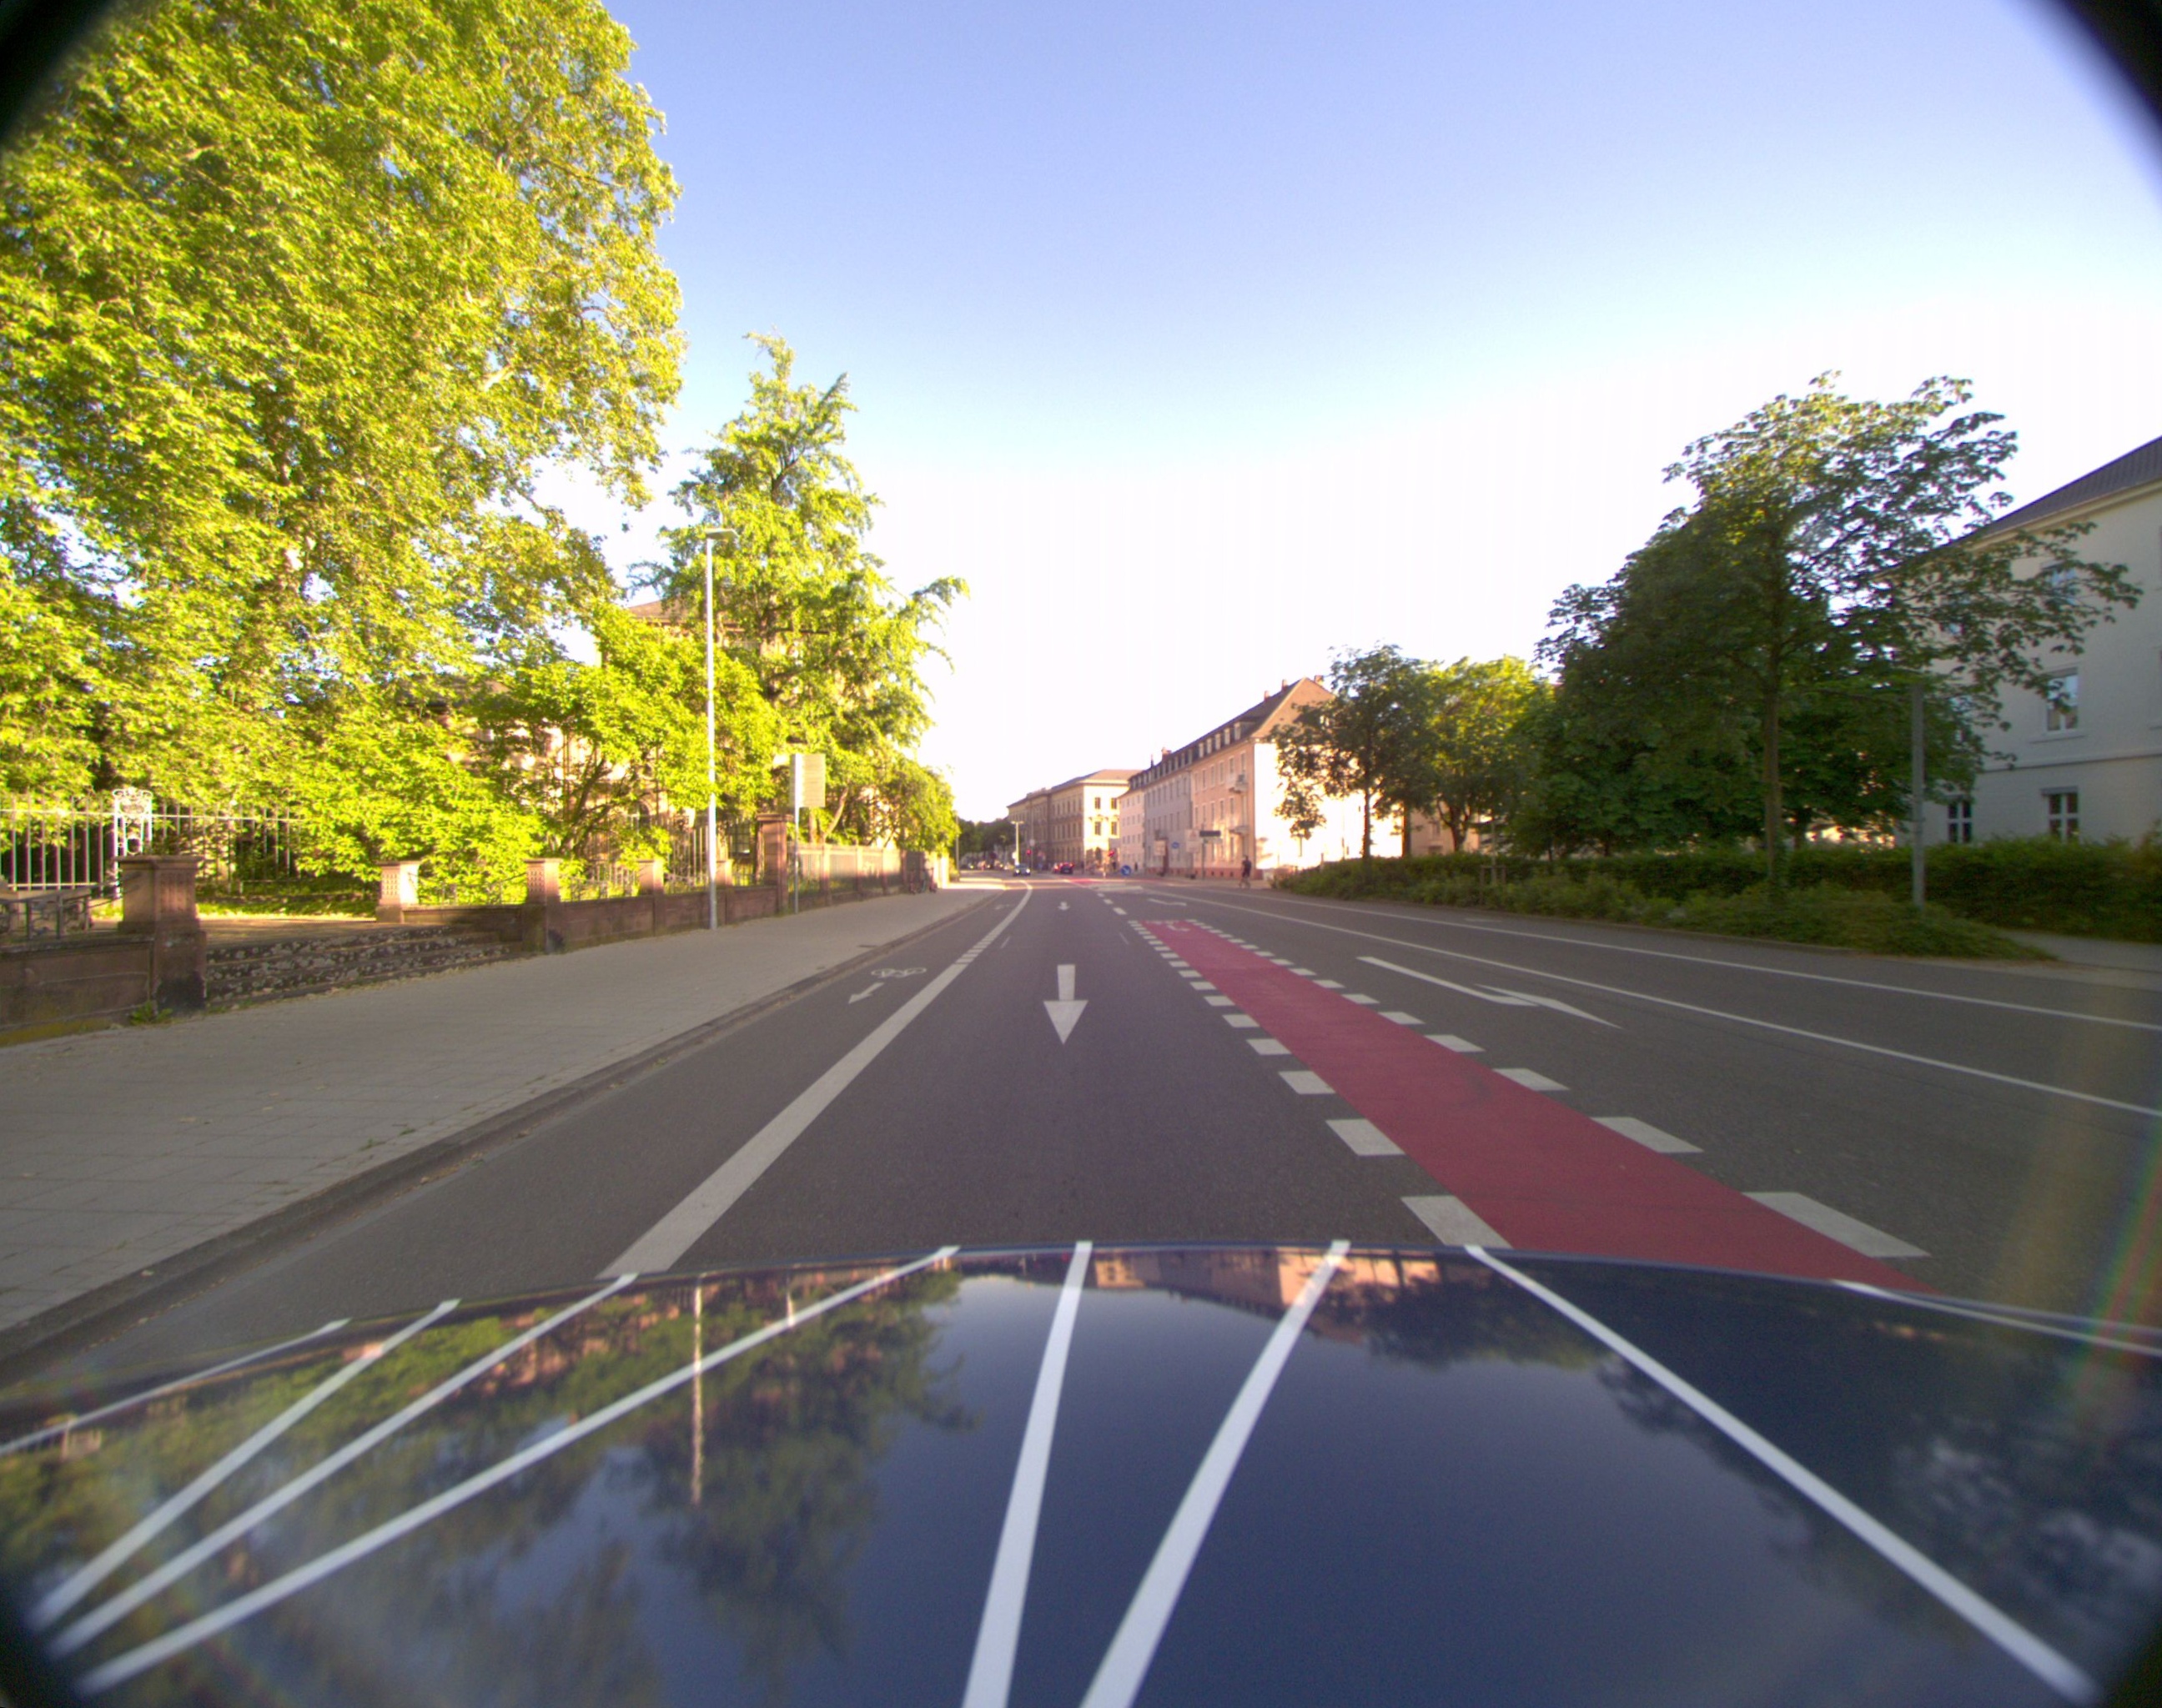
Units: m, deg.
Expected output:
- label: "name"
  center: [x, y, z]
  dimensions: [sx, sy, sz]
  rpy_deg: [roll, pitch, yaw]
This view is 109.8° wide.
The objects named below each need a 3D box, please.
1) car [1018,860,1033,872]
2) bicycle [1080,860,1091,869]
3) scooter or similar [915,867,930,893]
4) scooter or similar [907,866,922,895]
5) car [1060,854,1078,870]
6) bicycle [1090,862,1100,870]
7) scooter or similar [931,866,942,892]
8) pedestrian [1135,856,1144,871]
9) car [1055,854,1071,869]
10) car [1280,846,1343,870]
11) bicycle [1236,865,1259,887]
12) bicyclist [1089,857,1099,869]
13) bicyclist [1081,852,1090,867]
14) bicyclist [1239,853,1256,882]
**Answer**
- label: "car"
  center: [-6.525, 1.396, 89.311]
  dimensions: [1.710, 1.397, 4.262]
  rpy_deg: [0, 0, -5]
- label: "bicycle"
  center: [0.575, 1.357, 102.008]
  dimensions: [0.956, 1.216, 2.777]
  rpy_deg: [0, 0, -9]
- label: "scooter or similar"
  center: [-7.527, 1.209, 36.095]
  dimensions: [0.576, 1.177, 1.487]
  rpy_deg: [0, 0, -7]
- label: "scooter or similar"
  center: [-7.515, 1.191, 34.243]
  dimensions: [0.576, 1.246, 1.486]
  rpy_deg: [0, 0, -15]
- label: "car"
  center: [-1.538, 0.990, 95.232]
  dimensions: [1.999, 2.002, 3.998]
  rpy_deg: [0, 0, -5]
- label: "bicycle"
  center: [1.617, 1.417, 89.981]
  dimensions: [0.663, 0.907, 2.861]
  rpy_deg: [0, 0, -9]
- label: "scooter or similar"
  center: [-7.053, 1.200, 37.176]
  dimensions: [0.517, 1.233, 1.521]
  rpy_deg: [0, 0, -11]
- label: "pedestrian"
  center: [7.815, 1.287, 101.882]
  dimensions: [0.949, 1.894, 1.062]
  rpy_deg: [-2, 1, -7]
- label: "car"
  center: [-2.421, 1.025, 101.153]
  dimensions: [1.999, 2.002, 3.998]
  rpy_deg: [0, 0, -5]
- label: "car"
  center: [17.159, 0.285, 56.728]
  dimensions: [4.000, 1.652, 1.998]
  rpy_deg: [-2, 1, -9]
- label: "bicycle"
  center: [9.232, 1.223, 42.267]
  dimensions: [0.697, 1.152, 2.245]
  rpy_deg: [1, 0, -3]
- label: "bicyclist"
  center: [1.577, 1.038, 89.924]
  dimensions: [1.026, 1.481, 0.870]
  rpy_deg: [0, 0, -9]
- label: "bicyclist"
  center: [0.575, 0.680, 102.030]
  dimensions: [0.956, 2.002, 1.307]
  rpy_deg: [0, 0, -9]
- label: "bicyclist"
  center: [9.236, 0.755, 42.249]
  dimensions: [0.691, 1.553, 0.838]
  rpy_deg: [1, 0, -3]
